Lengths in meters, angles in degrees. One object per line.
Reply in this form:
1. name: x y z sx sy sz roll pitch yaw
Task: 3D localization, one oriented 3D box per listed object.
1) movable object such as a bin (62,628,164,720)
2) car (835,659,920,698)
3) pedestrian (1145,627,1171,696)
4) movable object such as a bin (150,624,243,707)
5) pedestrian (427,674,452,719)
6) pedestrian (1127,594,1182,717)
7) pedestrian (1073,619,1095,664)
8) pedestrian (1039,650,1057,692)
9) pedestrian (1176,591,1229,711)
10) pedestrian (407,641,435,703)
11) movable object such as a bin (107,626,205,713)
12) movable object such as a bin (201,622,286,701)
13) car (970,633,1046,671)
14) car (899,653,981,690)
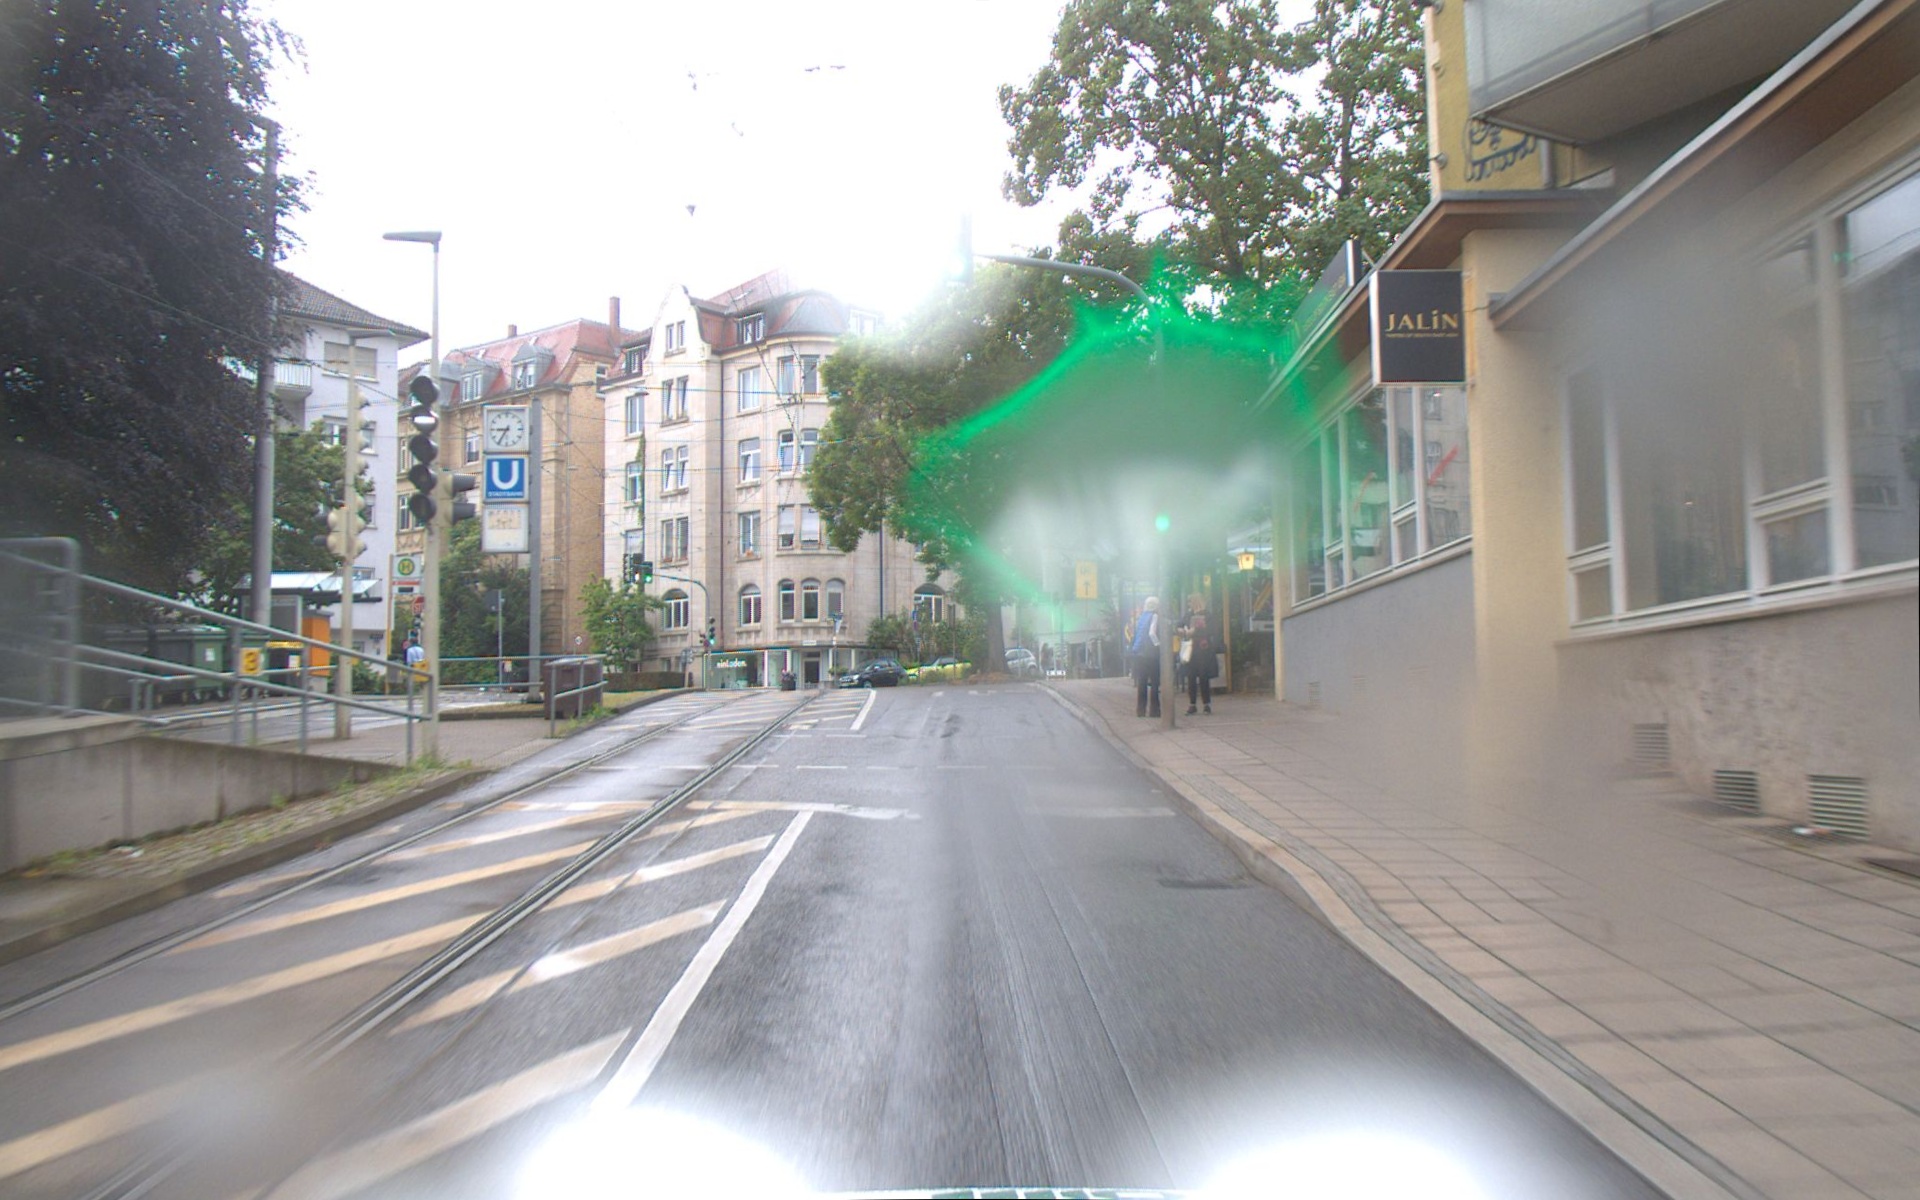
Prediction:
1. movable object such as a bin: -14.095 1.208 27.565 1.000 1.459 1.304 0 0 2
2. car: -3.766 3.578 75.821 3.640 1.534 1.711 -3 -1 -42
3. pedestrian: 3.476 1.079 29.060 0.318 1.170 0.317 -4 0 -4
4. movable object such as a bin: -14.076 1.187 30.543 1.000 1.459 1.444 0 0 2
5. pedestrian: -20.713 3.820 65.795 0.662 1.729 0.740 0 0 45
6. pedestrian: 2.597 0.729 22.100 0.576 1.581 0.650 -3 0 -1
7. pedestrian: 4.627 1.541 61.679 0.539 1.658 0.595 0 0 -33
8. pedestrian: 3.334 2.684 62.593 0.589 1.593 0.544 0 0 -10
9. pedestrian: 3.306 0.683 22.585 0.534 1.581 0.558 -3 0 -3
10. pedestrian: -15.205 2.035 46.688 0.557 1.713 0.774 -2 -2 -8
11. movable object such as a bin: -14.038 1.197 28.922 1.000 1.459 1.356 0 0 2
12. movable object such as a bin: -13.989 1.185 32.344 1.000 1.459 1.428 0 0 2
13. car: 2.395 2.593 82.485 1.596 1.533 3.750 -7 -2 43
14. car: -0.943 3.436 79.246 3.640 1.534 1.711 -3 -1 -42
